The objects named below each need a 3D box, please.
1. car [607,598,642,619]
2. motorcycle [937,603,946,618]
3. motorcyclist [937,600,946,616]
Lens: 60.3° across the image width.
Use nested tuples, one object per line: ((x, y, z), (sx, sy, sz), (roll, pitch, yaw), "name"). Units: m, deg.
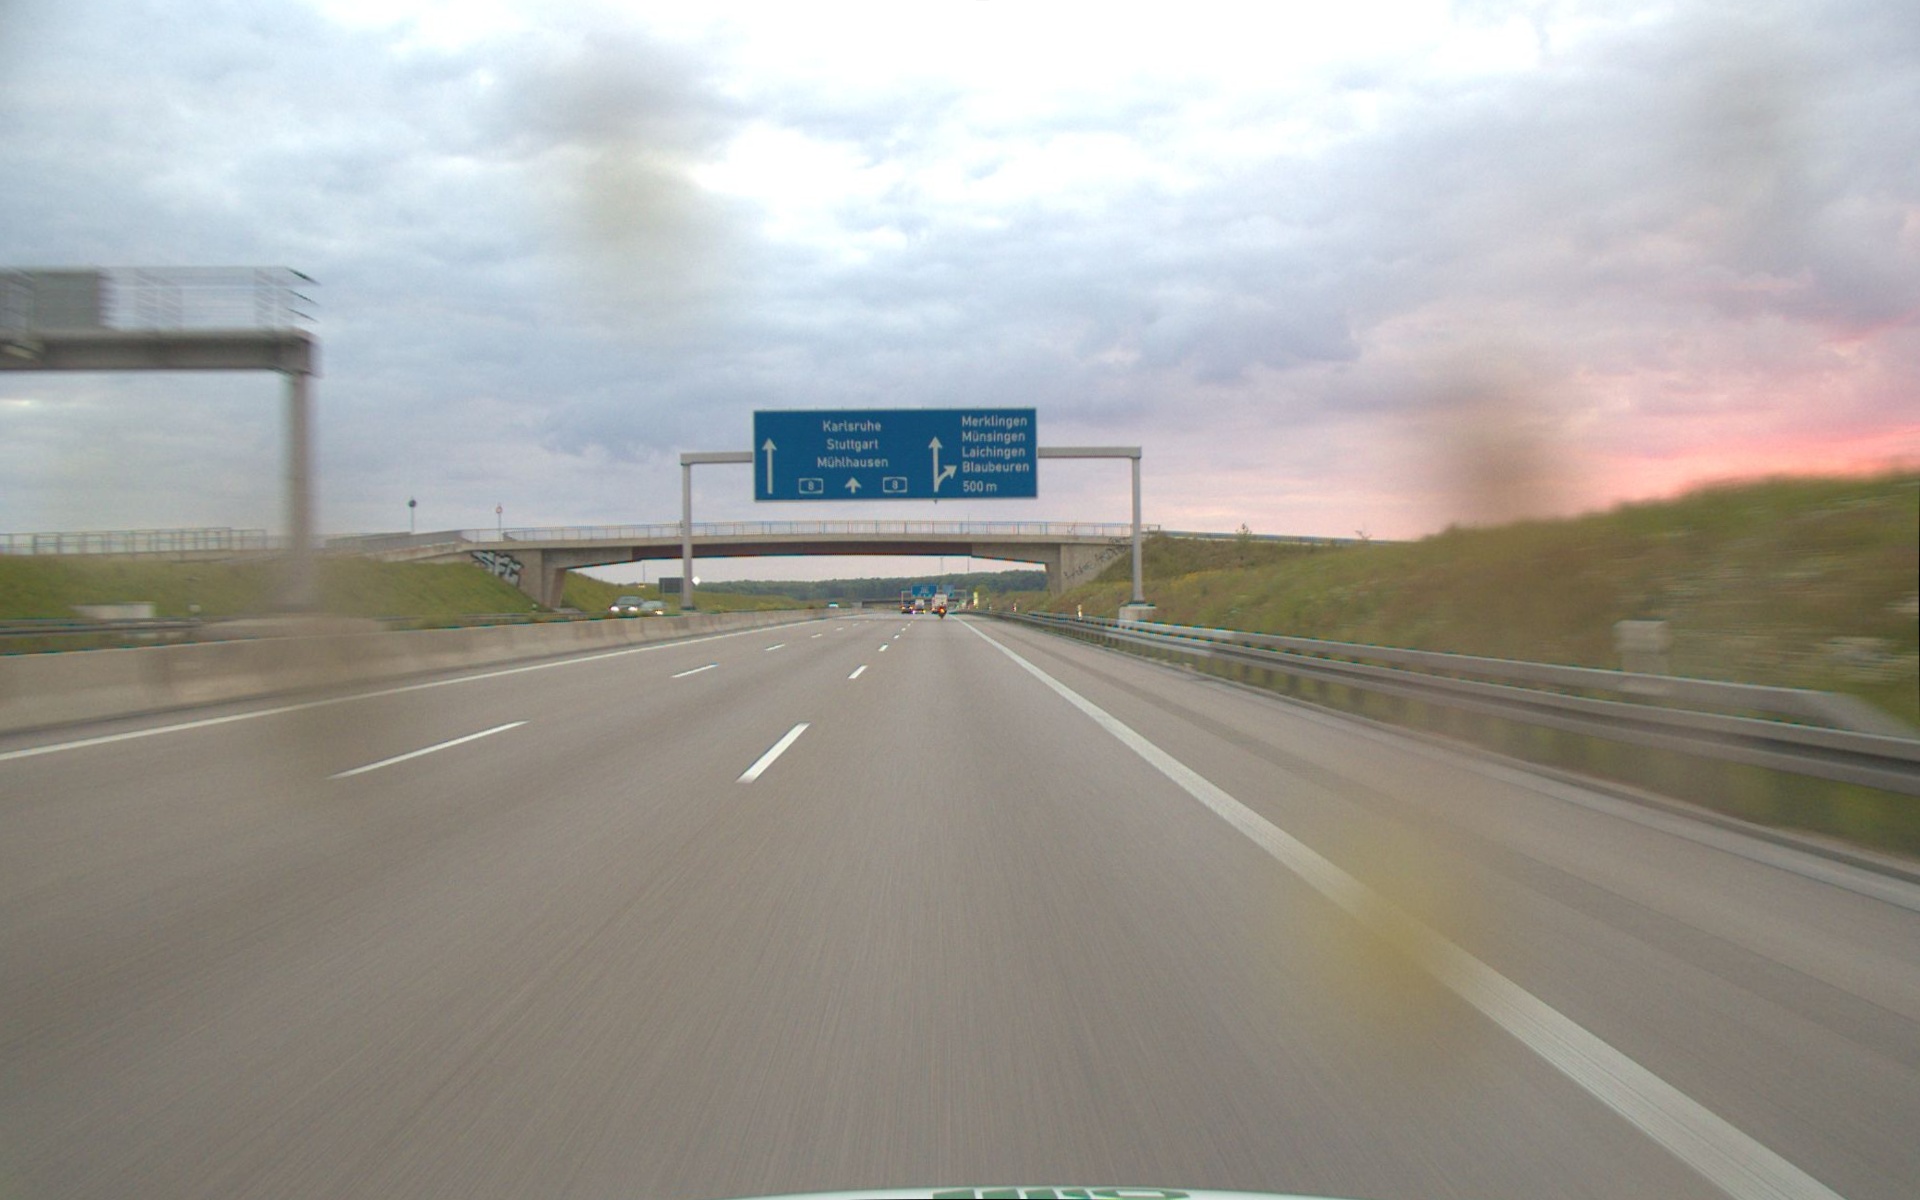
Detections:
((-24.361, 0.611, 120.225), (1.777, 1.484, 3.999), (0, 0, -1), "car")
((-1.725, 0.982, 152.985), (0.883, 1.370, 2.348), (0, 0, -1), "motorcycle")
((-1.710, 0.743, 153.100), (0.848, 1.514, 1.168), (1, 0, -1), "motorcyclist")
